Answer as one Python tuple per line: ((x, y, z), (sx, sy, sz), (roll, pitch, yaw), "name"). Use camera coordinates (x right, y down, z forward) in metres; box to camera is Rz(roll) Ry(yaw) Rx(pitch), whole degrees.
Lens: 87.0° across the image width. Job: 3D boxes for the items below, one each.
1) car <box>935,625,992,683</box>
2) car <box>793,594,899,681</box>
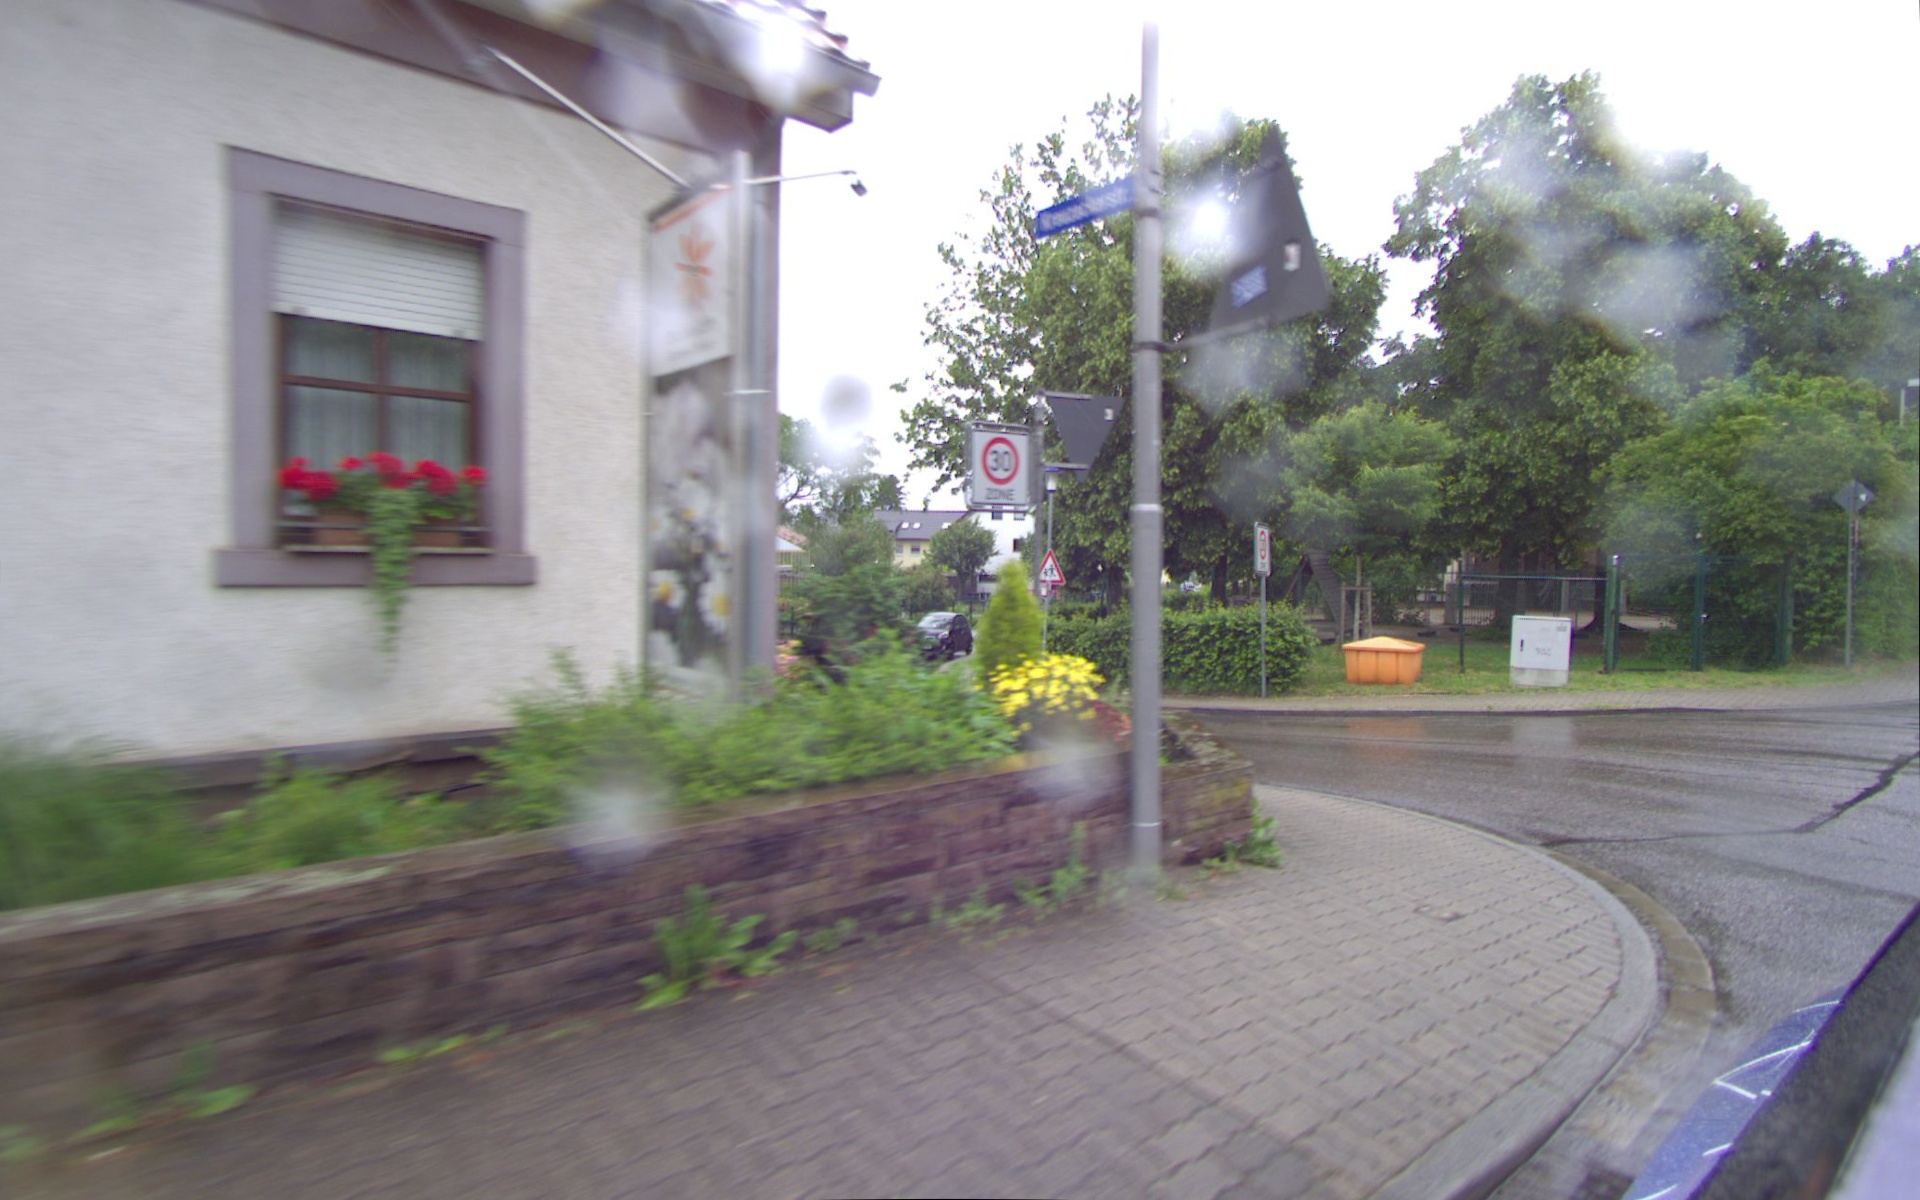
((0.058, 1.293, 24.928), (1.090, 1.192, 2.536), (-3, 1, -6), "car")
((-2.844, 0.892, 24.444), (1.863, 1.830, 4.006), (-3, -1, -16), "car")
